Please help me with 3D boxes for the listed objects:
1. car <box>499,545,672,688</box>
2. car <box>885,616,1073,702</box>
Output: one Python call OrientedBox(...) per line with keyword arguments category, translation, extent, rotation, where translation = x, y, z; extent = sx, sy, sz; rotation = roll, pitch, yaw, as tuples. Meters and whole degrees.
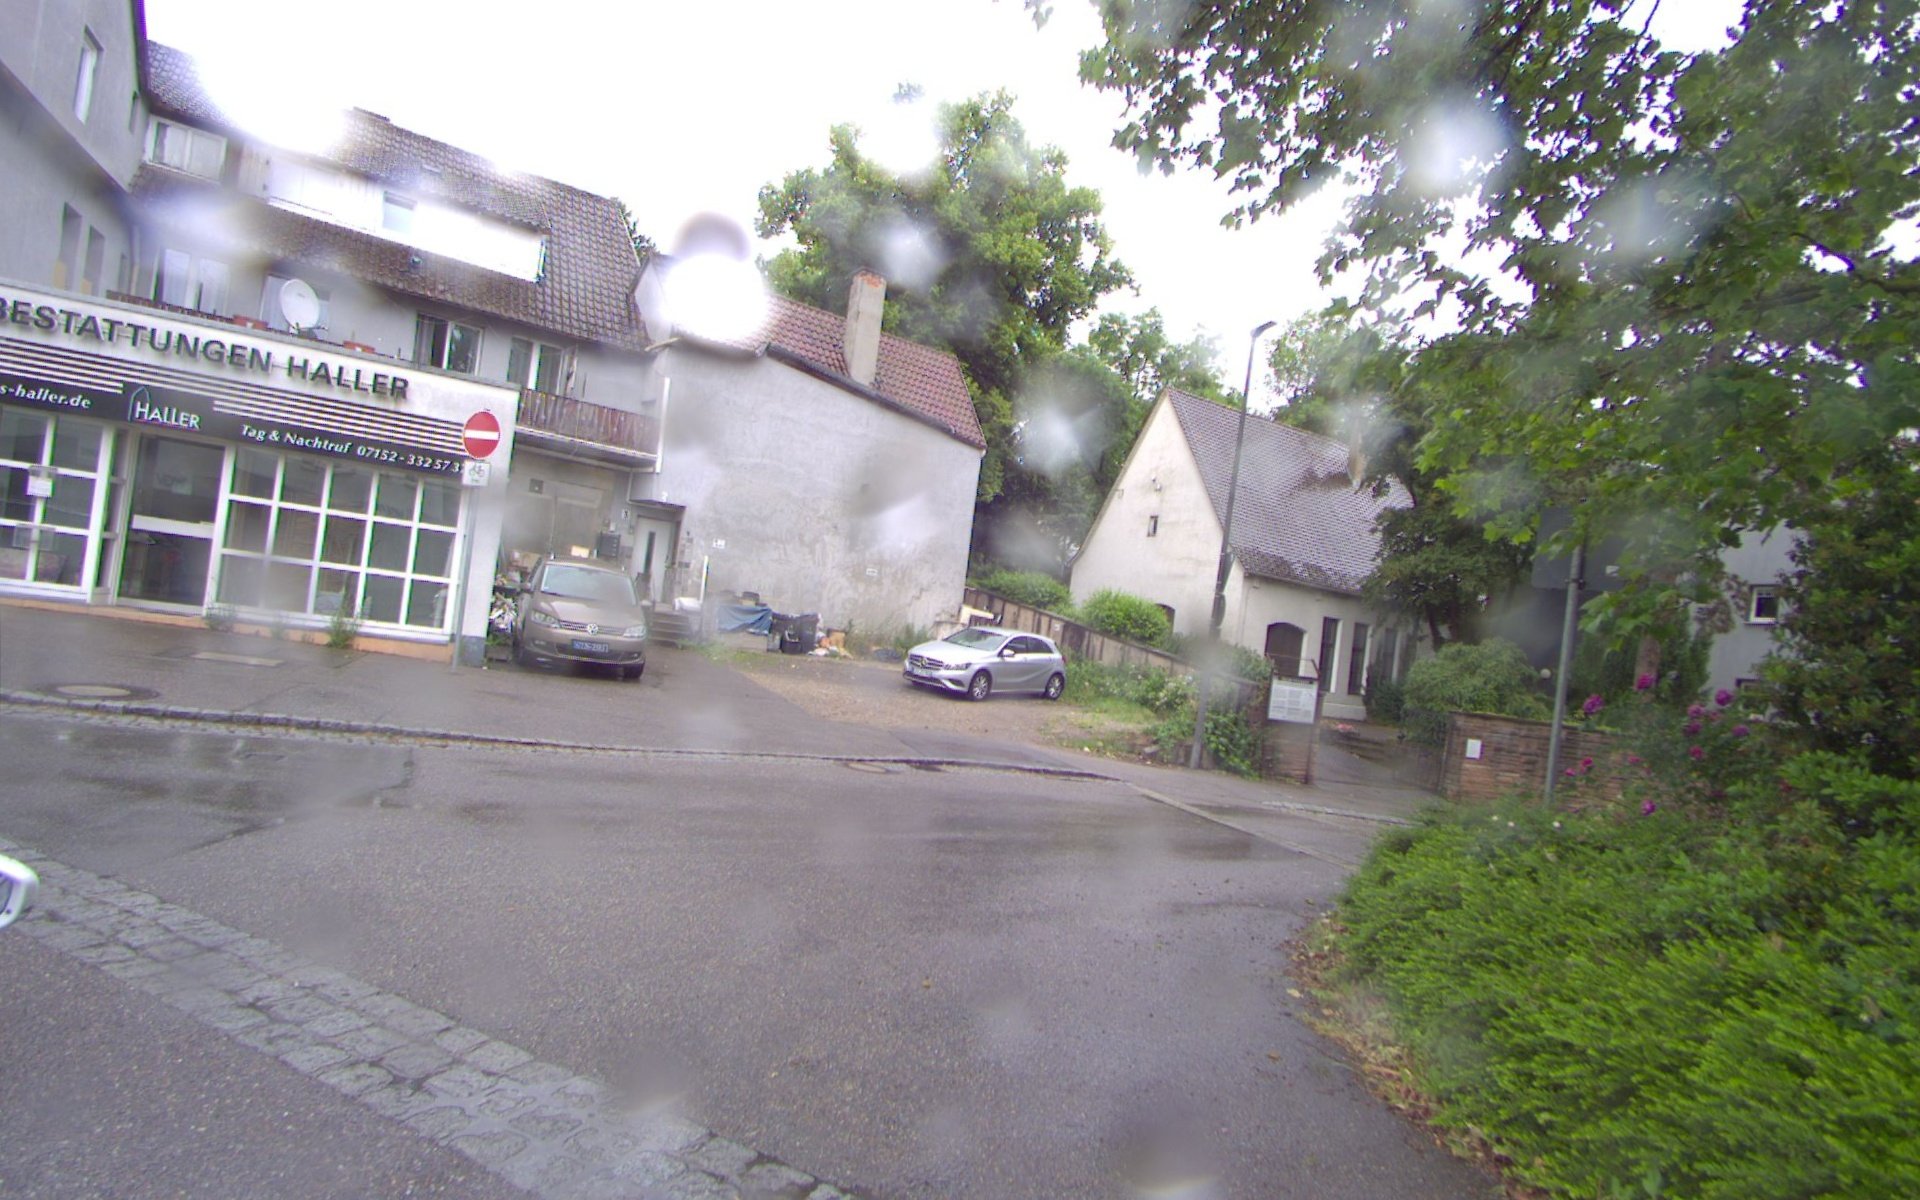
OrientedBox(category="car", translation=(-6.300, 0.164, 16.558), extent=(1.908, 1.749, 4.634), rotation=(8, 0, -28))
OrientedBox(category="car", translation=(0.493, 1.292, 21.388), extent=(1.717, 1.406, 4.022), rotation=(10, 2, 40))
